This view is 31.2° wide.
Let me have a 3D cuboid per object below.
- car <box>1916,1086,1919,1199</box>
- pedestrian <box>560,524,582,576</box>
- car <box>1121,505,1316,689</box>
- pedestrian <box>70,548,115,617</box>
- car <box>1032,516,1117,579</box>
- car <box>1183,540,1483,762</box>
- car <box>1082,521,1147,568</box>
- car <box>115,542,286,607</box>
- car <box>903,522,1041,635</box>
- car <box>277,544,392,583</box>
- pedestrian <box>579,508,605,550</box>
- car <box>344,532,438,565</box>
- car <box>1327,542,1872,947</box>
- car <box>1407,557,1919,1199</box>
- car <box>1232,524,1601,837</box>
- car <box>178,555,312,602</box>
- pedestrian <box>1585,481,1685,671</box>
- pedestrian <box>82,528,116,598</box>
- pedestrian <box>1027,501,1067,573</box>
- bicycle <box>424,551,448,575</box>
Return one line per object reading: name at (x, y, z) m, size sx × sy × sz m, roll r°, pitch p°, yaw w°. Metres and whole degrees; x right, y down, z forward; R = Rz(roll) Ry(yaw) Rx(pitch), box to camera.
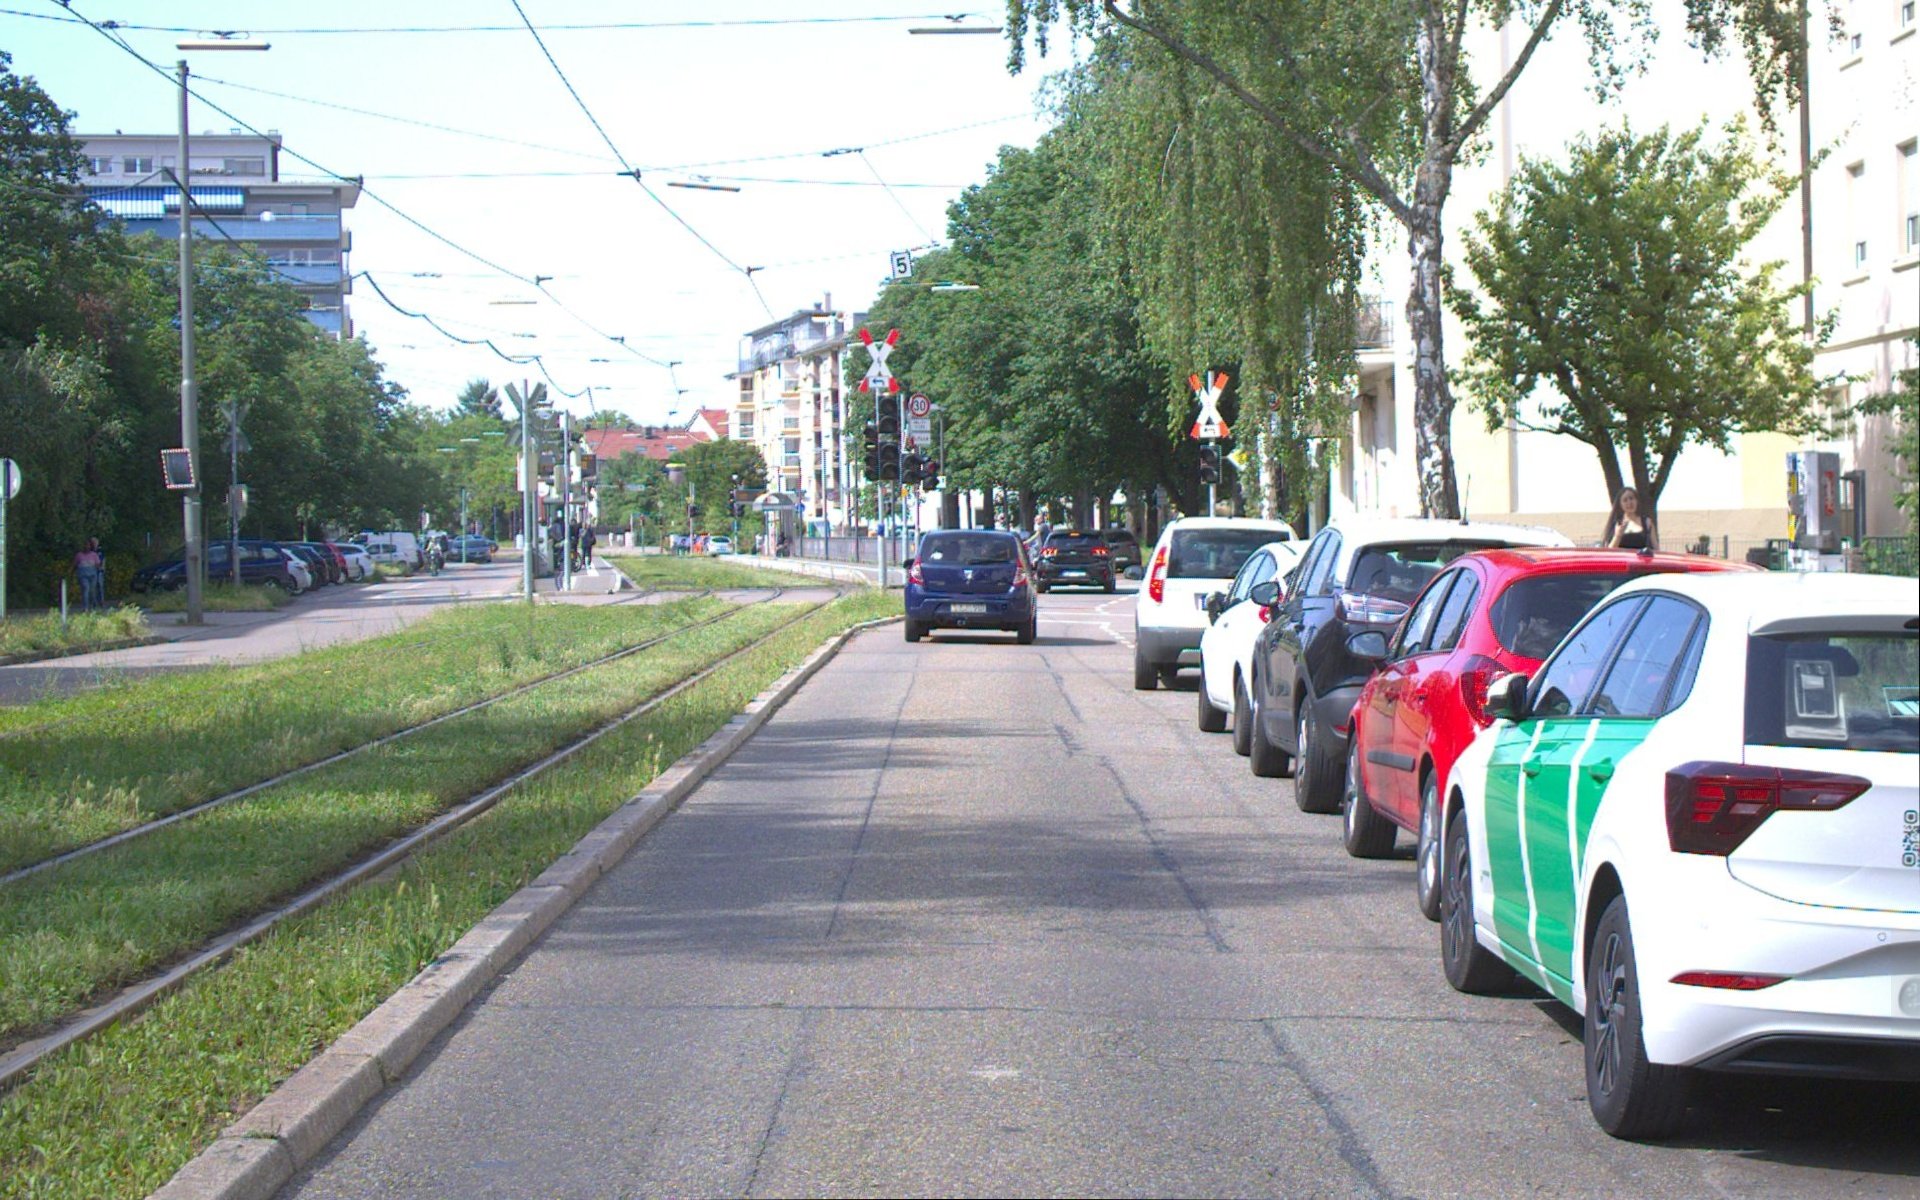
car at (2.559, 0.691, 3.643) m, size 1.792 × 1.515 × 4.527 m, roll 2°, pitch 1°, yaw 0°
pedestrian at (-13.257, -1.714, 117.239) m, size 0.604 × 1.760 × 0.639 m, roll -1°, pitch 1°, yaw 4°
car at (2.435, -0.064, 32.987) m, size 1.721 × 1.624 × 4.000 m, roll 1°, pitch 1°, yaw 3°
pedestrian at (-20.060, -0.396, 79.499) m, size 0.745 × 1.568 × 0.889 m, roll -1°, pitch -1°, yaw 3°
car at (2.582, -1.205, 77.949) m, size 1.700 × 1.363 × 3.515 m, roll 1°, pitch 1°, yaw -1°
car at (2.590, 0.307, 24.634) m, size 1.672 × 1.412 × 3.795 m, roll 2°, pitch 1°, yaw 0°
car at (5.060, -1.836, 112.881) m, size 1.861 × 1.440 × 4.000 m, roll -3°, pitch 1°, yaw 0°
car at (-20.181, -0.685, 91.410) m, size 4.122 × 1.635 × 1.725 m, roll -2°, pitch 2°, yaw -44°
car at (0.195, -0.320, 46.301) m, size 1.768 × 1.457 × 3.775 m, roll 0°, pitch 1°, yaw 2°
car at (-23.763, -1.391, 130.680) m, size 1.715 × 1.363 × 3.990 m, roll -1°, pitch 2°, yaw 44°
pedestrian at (-12.658, -2.428, 118.217) m, size 0.655 × 1.421 × 0.562 m, roll -1°, pitch 1°, yaw 32°
car at (-26.622, -2.416, 160.980) m, size 3.989 × 1.442 × 1.727 m, roll -3°, pitch 2°, yaw -40°
car at (2.604, 0.511, 14.835) m, size 1.589 × 1.447 × 3.844 m, roll 3°, pitch 1°, yaw 0°
car at (2.385, 0.646, 9.971) m, size 1.619 × 1.447 × 3.919 m, roll 3°, pitch 1°, yaw 0°
car at (2.490, 0.372, 19.505) m, size 1.493 × 1.574 × 3.759 m, roll 1°, pitch 1°, yaw -1°
car at (-20.156, -0.613, 97.023) m, size 3.380 × 1.232 × 1.543 m, roll -2°, pitch 2°, yaw -44°
pedestrian at (6.123, -0.223, 31.202) m, size 0.730 × 1.677 × 0.691 m, roll -3°, pitch 1°, yaw 4°
pedestrian at (-20.586, -0.879, 82.176) m, size 0.557 × 1.651 × 0.747 m, roll -1°, pitch 1°, yaw 3°
pedestrian at (2.140, -1.550, 85.122) m, size 0.870 × 1.769 × 1.004 m, roll -1°, pitch 1°, yaw -5°
bicycle at (-21.837, -1.552, 143.236) m, size 0.680 × 0.967 × 2.179 m, roll -2°, pitch 1°, yaw -2°
